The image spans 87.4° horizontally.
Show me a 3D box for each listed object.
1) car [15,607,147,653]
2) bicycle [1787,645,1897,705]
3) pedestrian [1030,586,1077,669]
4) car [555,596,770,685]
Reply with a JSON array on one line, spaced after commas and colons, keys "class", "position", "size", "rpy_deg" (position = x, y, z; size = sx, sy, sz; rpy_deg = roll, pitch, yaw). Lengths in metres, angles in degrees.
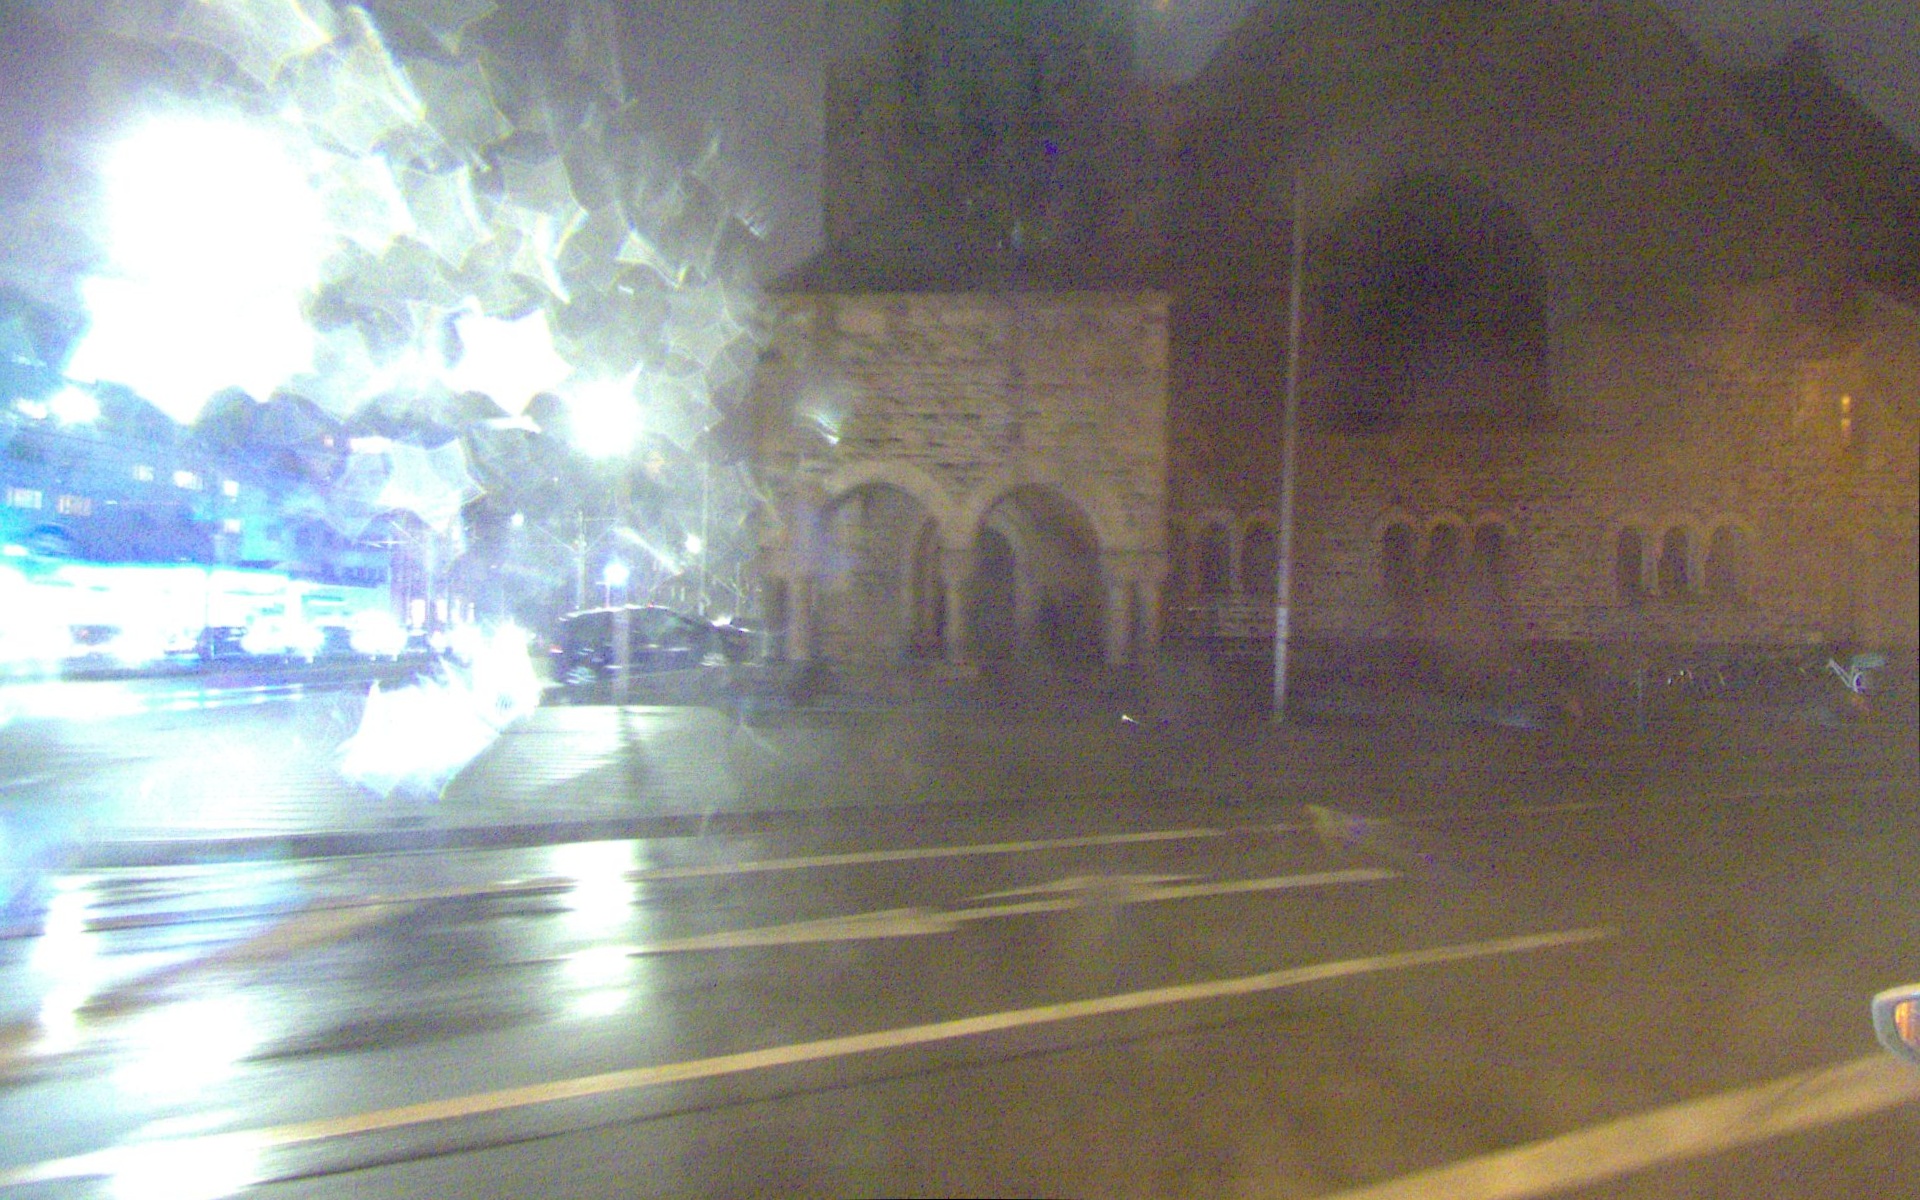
[{"class": "car", "position": [-37.495, 1.277, 42.970], "size": [1.817, 1.862, 4.003], "rpy_deg": [1, -2, 7]}, {"class": "bicycle", "position": [18.818, 1.570, 21.495], "size": [0.531, 1.196, 1.970], "rpy_deg": [1, -2, -3]}, {"class": "pedestrian", "position": [1.967, 0.575, 21.053], "size": [0.620, 1.698, 0.788], "rpy_deg": [1, 0, 42]}, {"class": "car", "position": [-6.107, 0.860, 20.919], "size": [3.920, 1.750, 1.701], "rpy_deg": [0, -3, 3]}]
